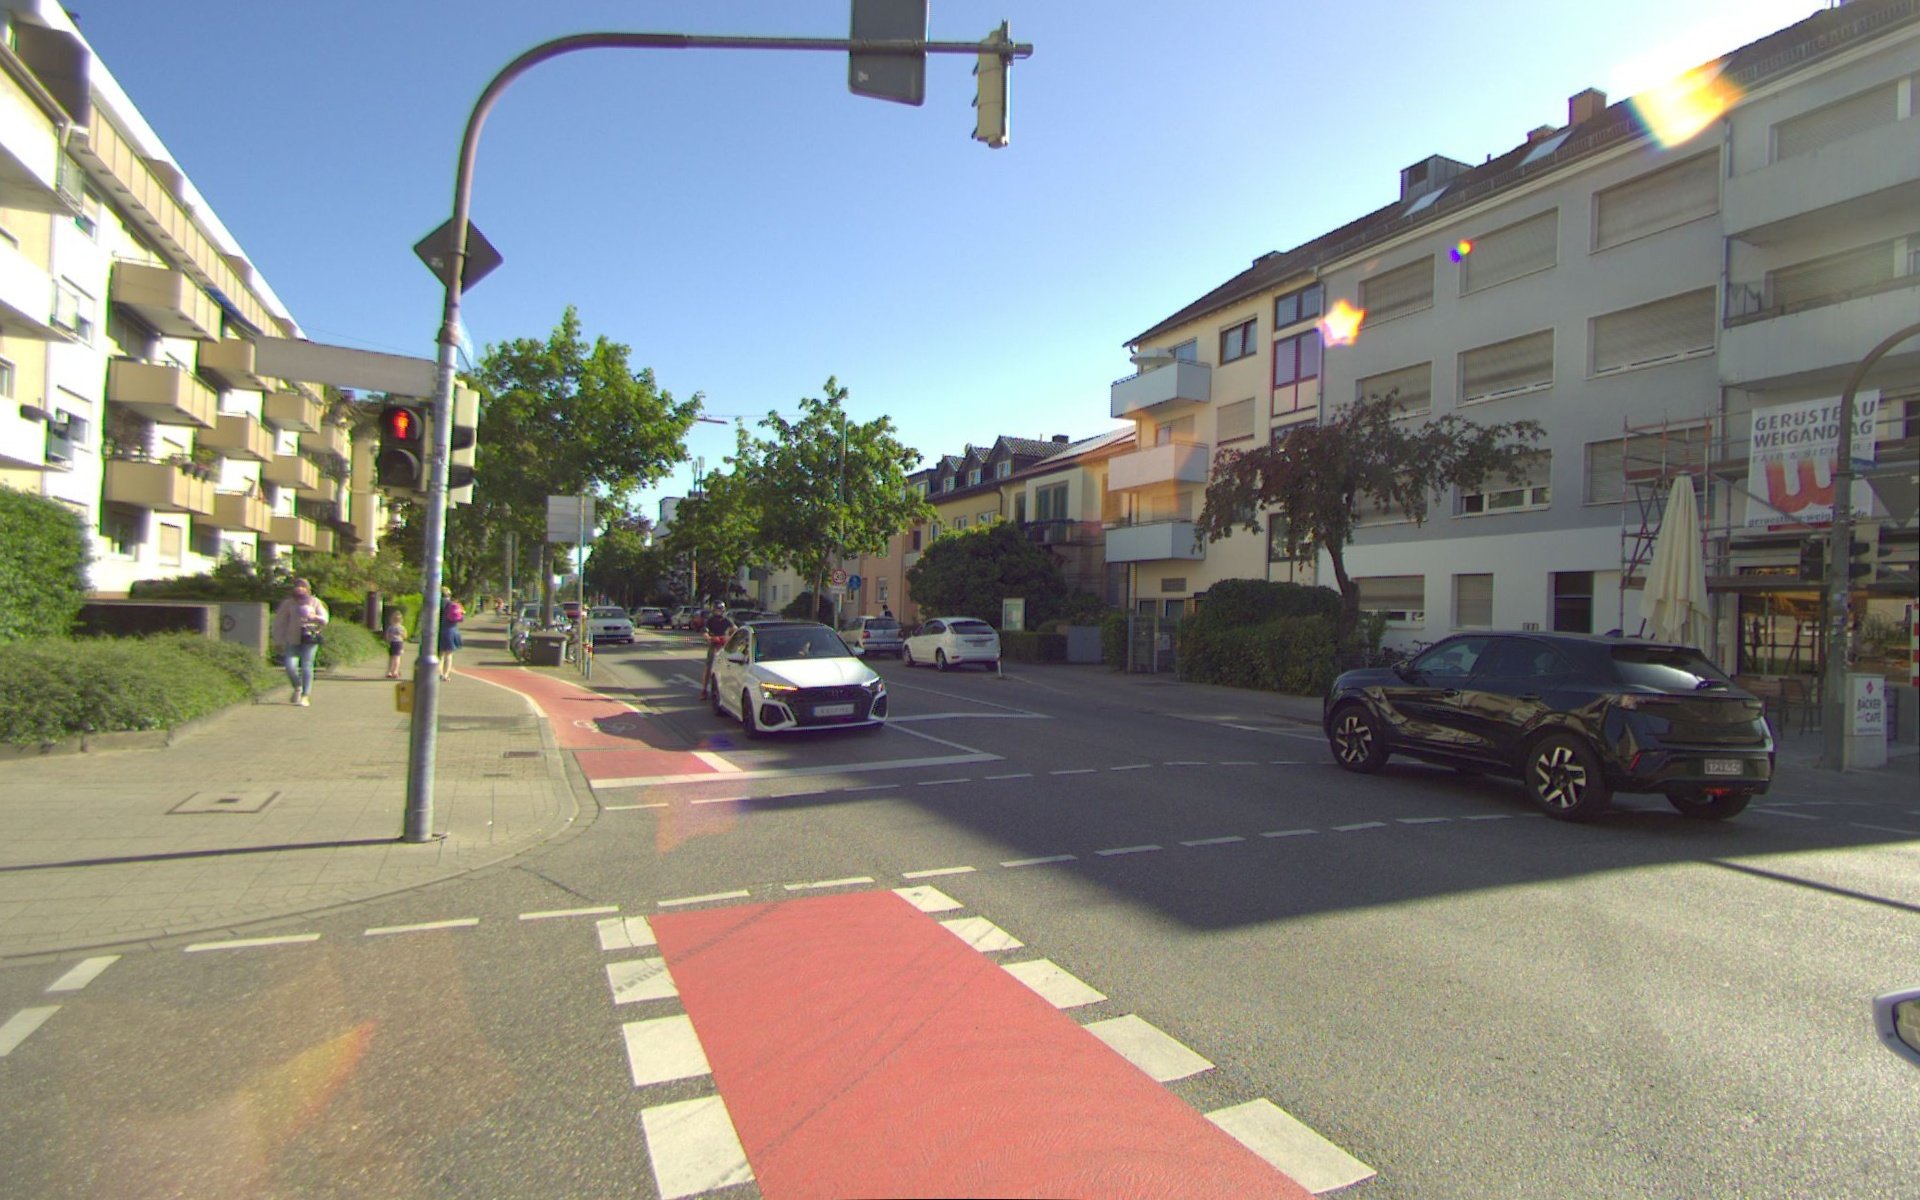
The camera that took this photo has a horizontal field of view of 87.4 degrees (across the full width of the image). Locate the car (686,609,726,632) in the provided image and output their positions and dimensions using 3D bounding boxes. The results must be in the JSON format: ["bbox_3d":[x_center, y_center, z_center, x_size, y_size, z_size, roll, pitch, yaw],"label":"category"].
[{"bbox_3d":[-16.750,1.332,66.087,1.890,1.449,3.975,0,0,-25],"label":"car"}]

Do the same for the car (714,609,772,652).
[{"bbox_3d":[-8.853,1.225,40.788,1.574,1.586,4.067,3,-2,-22],"label":"car"}]

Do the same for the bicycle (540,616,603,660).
[{"bbox_3d":[-11.190,1.105,28.941,1.548,1.175,0.448,2,-9,-2],"label":"bicycle"}]

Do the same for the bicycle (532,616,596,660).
[{"bbox_3d":[-11.175,1.079,28.387,1.548,1.175,0.448,2,-9,-2],"label":"bicycle"}]

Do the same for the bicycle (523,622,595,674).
[{"bbox_3d":[-10.050,1.194,25.200,1.548,1.177,0.447,2,14,-2],"label":"bicycle"}]

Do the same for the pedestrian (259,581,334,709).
[{"bbox_3d":[-8.687,0.584,13.172,0.687,1.617,0.643,2,-1,-27],"label":"pedestrian"}]

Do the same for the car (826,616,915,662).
[{"bbox_3d":[-3.211,1.315,35.357,1.890,1.449,3.975,0,0,-25],"label":"car"}]

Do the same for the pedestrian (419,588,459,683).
[{"bbox_3d":[-9.574,0.646,18.473,0.567,1.705,0.962,2,-1,-25],"label":"pedestrian"}]

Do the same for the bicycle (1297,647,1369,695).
[{"bbox_3d":[8.048,1.520,21.739,0.505,0.952,1.585,2,-1,-22],"label":"bicycle"}]

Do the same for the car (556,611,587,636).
[{"bbox_3d":[-25.608,1.532,66.108,1.789,1.579,4.225,0,0,-23],"label":"car"}]

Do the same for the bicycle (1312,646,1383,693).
[{"bbox_3d":[8.556,1.519,22.242,0.505,0.952,1.585,2,-1,-22],"label":"bicycle"}]

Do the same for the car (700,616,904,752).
[{"bbox_3d":[-2.393,1.030,14.204,1.906,1.455,4.245,-2,1,-22],"label":"car"}]

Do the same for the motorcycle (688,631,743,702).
[{"bbox_3d":[-4.366,1.153,17.841,0.738,1.149,1.675,0,0,-22],"label":"motorcycle"}]

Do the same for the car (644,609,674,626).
[{"bbox_3d":[-25.828,1.475,86.187,1.890,1.449,3.975,0,0,-25],"label":"car"}]

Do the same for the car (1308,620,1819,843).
[{"bbox_3d":[5.264,1.027,9.462,1.740,1.579,3.986,2,-1,-17],"label":"car"}]

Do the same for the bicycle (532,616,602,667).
[{"bbox_3d":[-10.062,1.067,25.739,1.548,1.177,0.447,2,14,-2],"label":"bicycle"}]

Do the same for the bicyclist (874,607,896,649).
[{"bbox_3d":[-2.891,1.073,38.883,0.548,1.569,0.809,2,0,-26],"label":"bicyclist"}]

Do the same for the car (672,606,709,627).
[{"bbox_3d":[-19.313,1.184,71.865,1.890,1.449,3.975,0,0,-25],"label":"car"}]

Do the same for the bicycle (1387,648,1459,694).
[{"bbox_3d":[10.641,1.621,23.155,0.505,0.952,1.585,2,-1,-22],"label":"bicycle"}]

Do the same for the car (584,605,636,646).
[{"bbox_3d":[-14.379,0.997,41.144,1.789,1.579,4.225,0,0,-23],"label":"car"}]

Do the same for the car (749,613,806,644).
[{"bbox_3d":[-9.273,1.394,50.799,1.890,1.449,3.975,0,0,-25],"label":"car"}]

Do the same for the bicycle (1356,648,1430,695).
[{"bbox_3d":[9.479,1.552,22.041,0.505,0.952,1.585,2,-1,-22],"label":"bicycle"}]

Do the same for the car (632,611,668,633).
[{"bbox_3d":[-21.834,1.512,70.627,1.819,1.452,4.149,2,-1,-26],"label":"car"}]

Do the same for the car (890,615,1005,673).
[{"bbox_3d":[-0.435,1.226,29.197,1.890,1.539,3.975,1,-1,-25],"label":"car"}]

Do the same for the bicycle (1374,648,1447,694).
[{"bbox_3d":[10.141,1.594,22.668,0.505,0.952,1.585,2,-1,-22],"label":"bicycle"}]

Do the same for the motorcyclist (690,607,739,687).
[{"bbox_3d":[-4.342,0.817,17.753,0.746,1.374,0.788,0,0,-22],"label":"motorcyclist"}]

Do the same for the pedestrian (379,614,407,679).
[{"bbox_3d":[-10.477,0.851,18.552,0.383,1.161,0.527,2,-1,-33],"label":"pedestrian"}]
